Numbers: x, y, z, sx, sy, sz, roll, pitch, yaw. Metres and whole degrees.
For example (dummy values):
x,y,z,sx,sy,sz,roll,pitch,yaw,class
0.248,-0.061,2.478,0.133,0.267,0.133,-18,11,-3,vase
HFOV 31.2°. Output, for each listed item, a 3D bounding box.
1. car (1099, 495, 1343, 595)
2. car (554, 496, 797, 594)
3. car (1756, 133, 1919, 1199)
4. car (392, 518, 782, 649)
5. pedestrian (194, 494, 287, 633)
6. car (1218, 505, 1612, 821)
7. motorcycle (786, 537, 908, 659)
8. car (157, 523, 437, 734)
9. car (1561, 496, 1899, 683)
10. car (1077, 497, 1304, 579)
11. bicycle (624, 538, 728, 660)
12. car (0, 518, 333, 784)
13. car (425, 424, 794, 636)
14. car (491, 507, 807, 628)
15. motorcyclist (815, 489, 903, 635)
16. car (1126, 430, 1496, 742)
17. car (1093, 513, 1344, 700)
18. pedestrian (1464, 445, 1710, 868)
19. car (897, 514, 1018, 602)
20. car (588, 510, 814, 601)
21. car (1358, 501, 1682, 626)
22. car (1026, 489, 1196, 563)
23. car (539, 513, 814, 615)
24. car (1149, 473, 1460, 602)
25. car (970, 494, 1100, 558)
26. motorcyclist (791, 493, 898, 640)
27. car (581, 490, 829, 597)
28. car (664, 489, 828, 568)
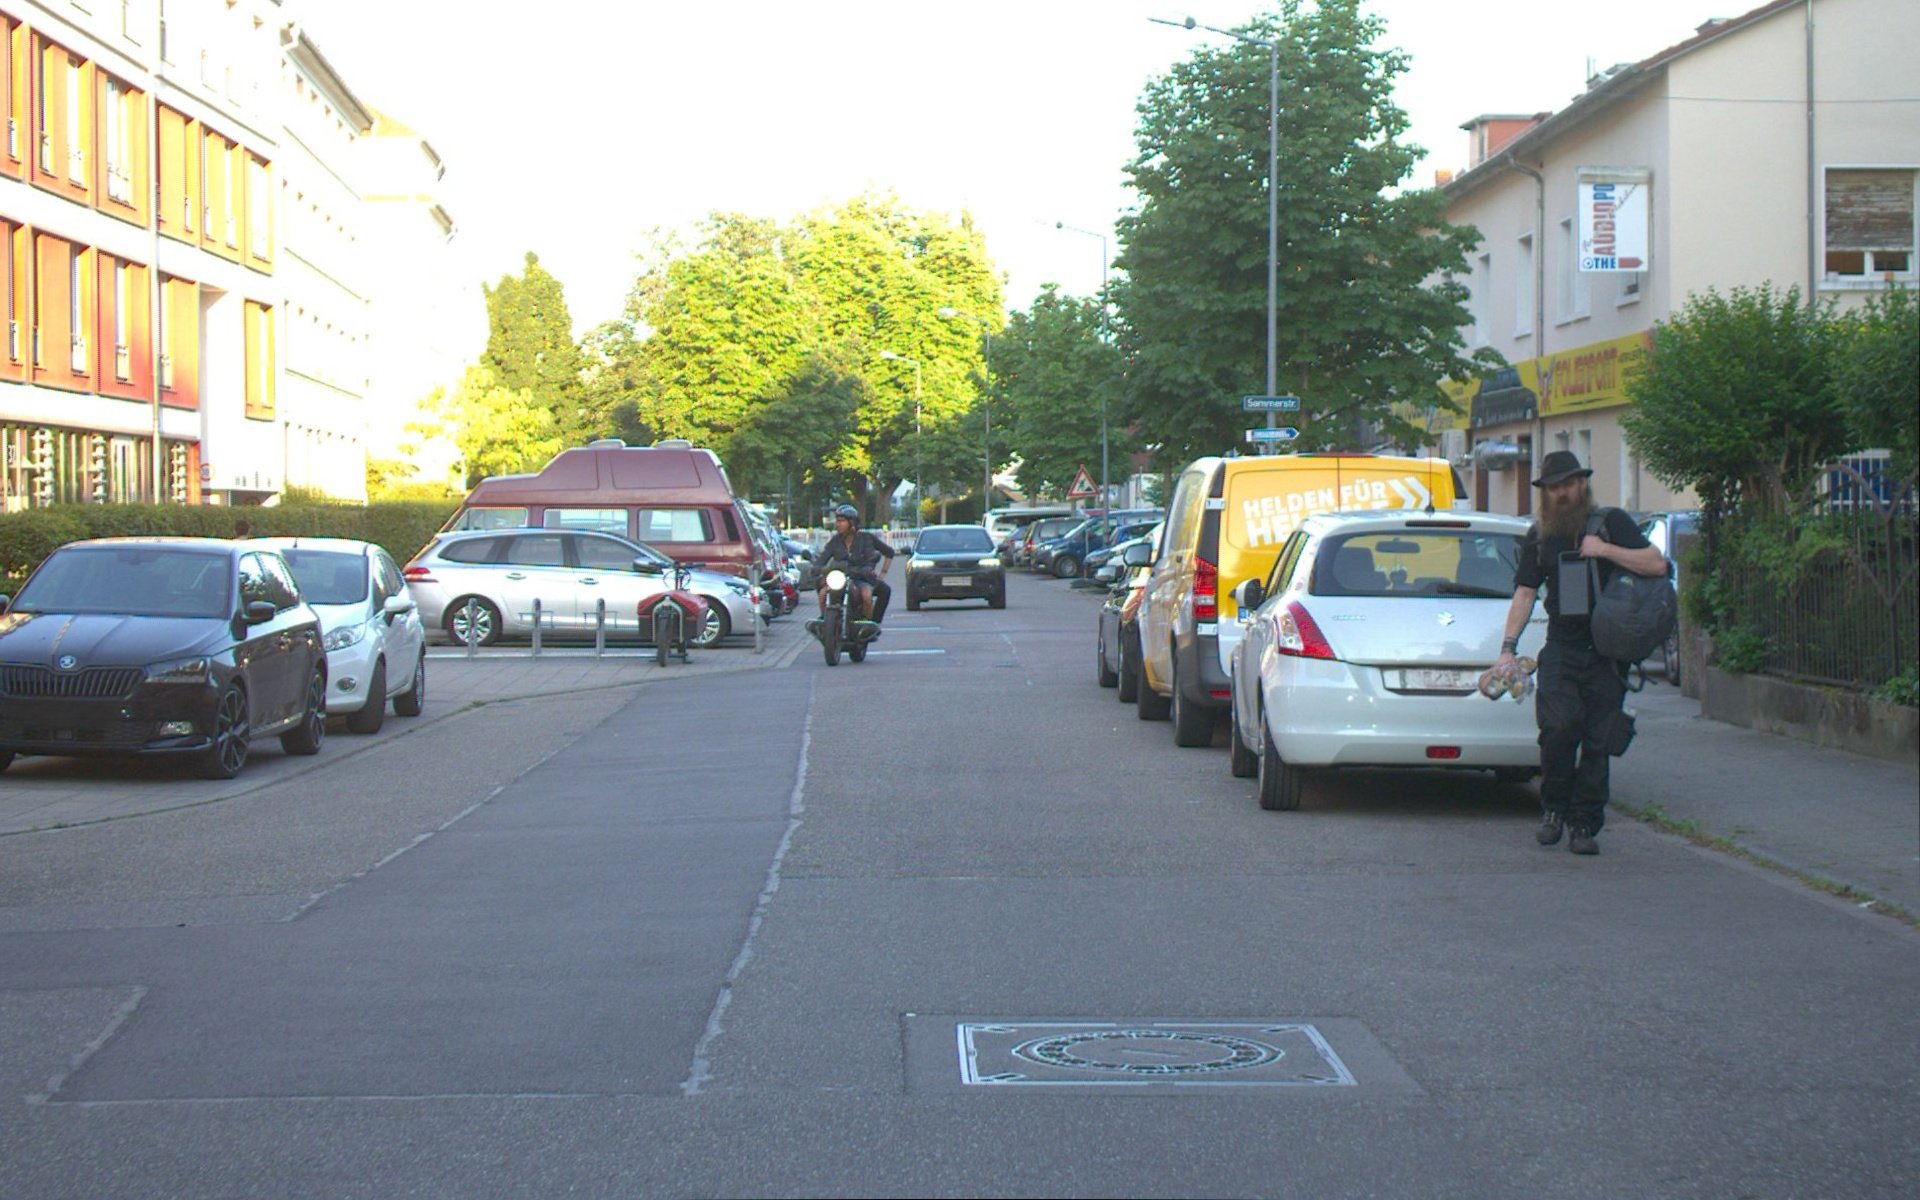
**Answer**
x,y,z,sx,sy,sz,roll,pitch,yaw,class
5.550,-1.184,73.438,4.943,1.951,2.049,-2,1,-2,car
-5.166,-1.012,62.825,4.256,1.654,2.000,1,1,0,car
2.349,0.389,2.921,1.861,2.032,5.545,-2,2,-2,car
-4.527,-0.214,42.187,4.615,1.455,1.881,1,1,-4,car
-7.953,-0.410,38.052,0.832,1.496,0.798,1,1,0,pedestrian
2.289,0.248,18.156,1.675,1.472,3.862,1,1,2,car
-1.180,-0.037,36.446,0.846,1.205,2.074,-2,1,9,motorcycle
-5.183,0.169,27.303,1.650,1.525,4.018,1,1,-3,car
6.412,-0.134,29.090,1.726,1.419,4.424,-1,1,-2,car
5.227,-1.429,78.378,4.943,1.683,2.077,-2,1,-2,car
-3.026,-0.032,36.890,0.808,1.217,2.865,1,1,1,bicycle
-5.201,0.252,21.955,1.703,1.529,3.844,1,1,0,car
-4.513,-0.917,44.749,4.511,2.575,2.000,1,1,1,car
-4.240,-0.462,47.329,4.209,1.532,1.791,1,1,-2,car
-1.087,-0.411,37.082,0.787,1.534,0.545,-2,1,9,motorcyclist
2.253,-0.147,23.435,1.893,1.877,5.082,1,1,-1,car
2.110,-0.001,29.089,1.721,1.419,4.254,1,1,-1,car
2.681,0.219,14.649,0.889,1.716,0.958,2,1,16,pedestrian
-0.014,-0.788,62.594,1.780,1.512,3.999,-1,1,6,car
-5.034,-0.873,67.185,4.256,1.646,1.888,1,1,0,car
7.474,-0.507,46.136,4.050,1.509,1.756,-1,3,1,car
4.190,-2.059,95.853,4.478,1.905,1.688,-2,1,-5,car
-4.493,-0.588,54.938,4.209,1.484,1.850,1,1,0,car
5.792,-1.062,58.271,4.990,1.976,2.220,-2,1,0,car
2.419,-2.398,111.449,3.967,1.905,2.050,-2,1,-5,car
-1.217,-0.358,36.321,0.890,1.500,0.969,-2,1,9,motorcyclist
-5.132,-1.154,69.735,4.850,2.014,1.907,1,1,0,car
-6.094,-2.056,98.230,4.533,2.127,2.000,1,1,0,car
